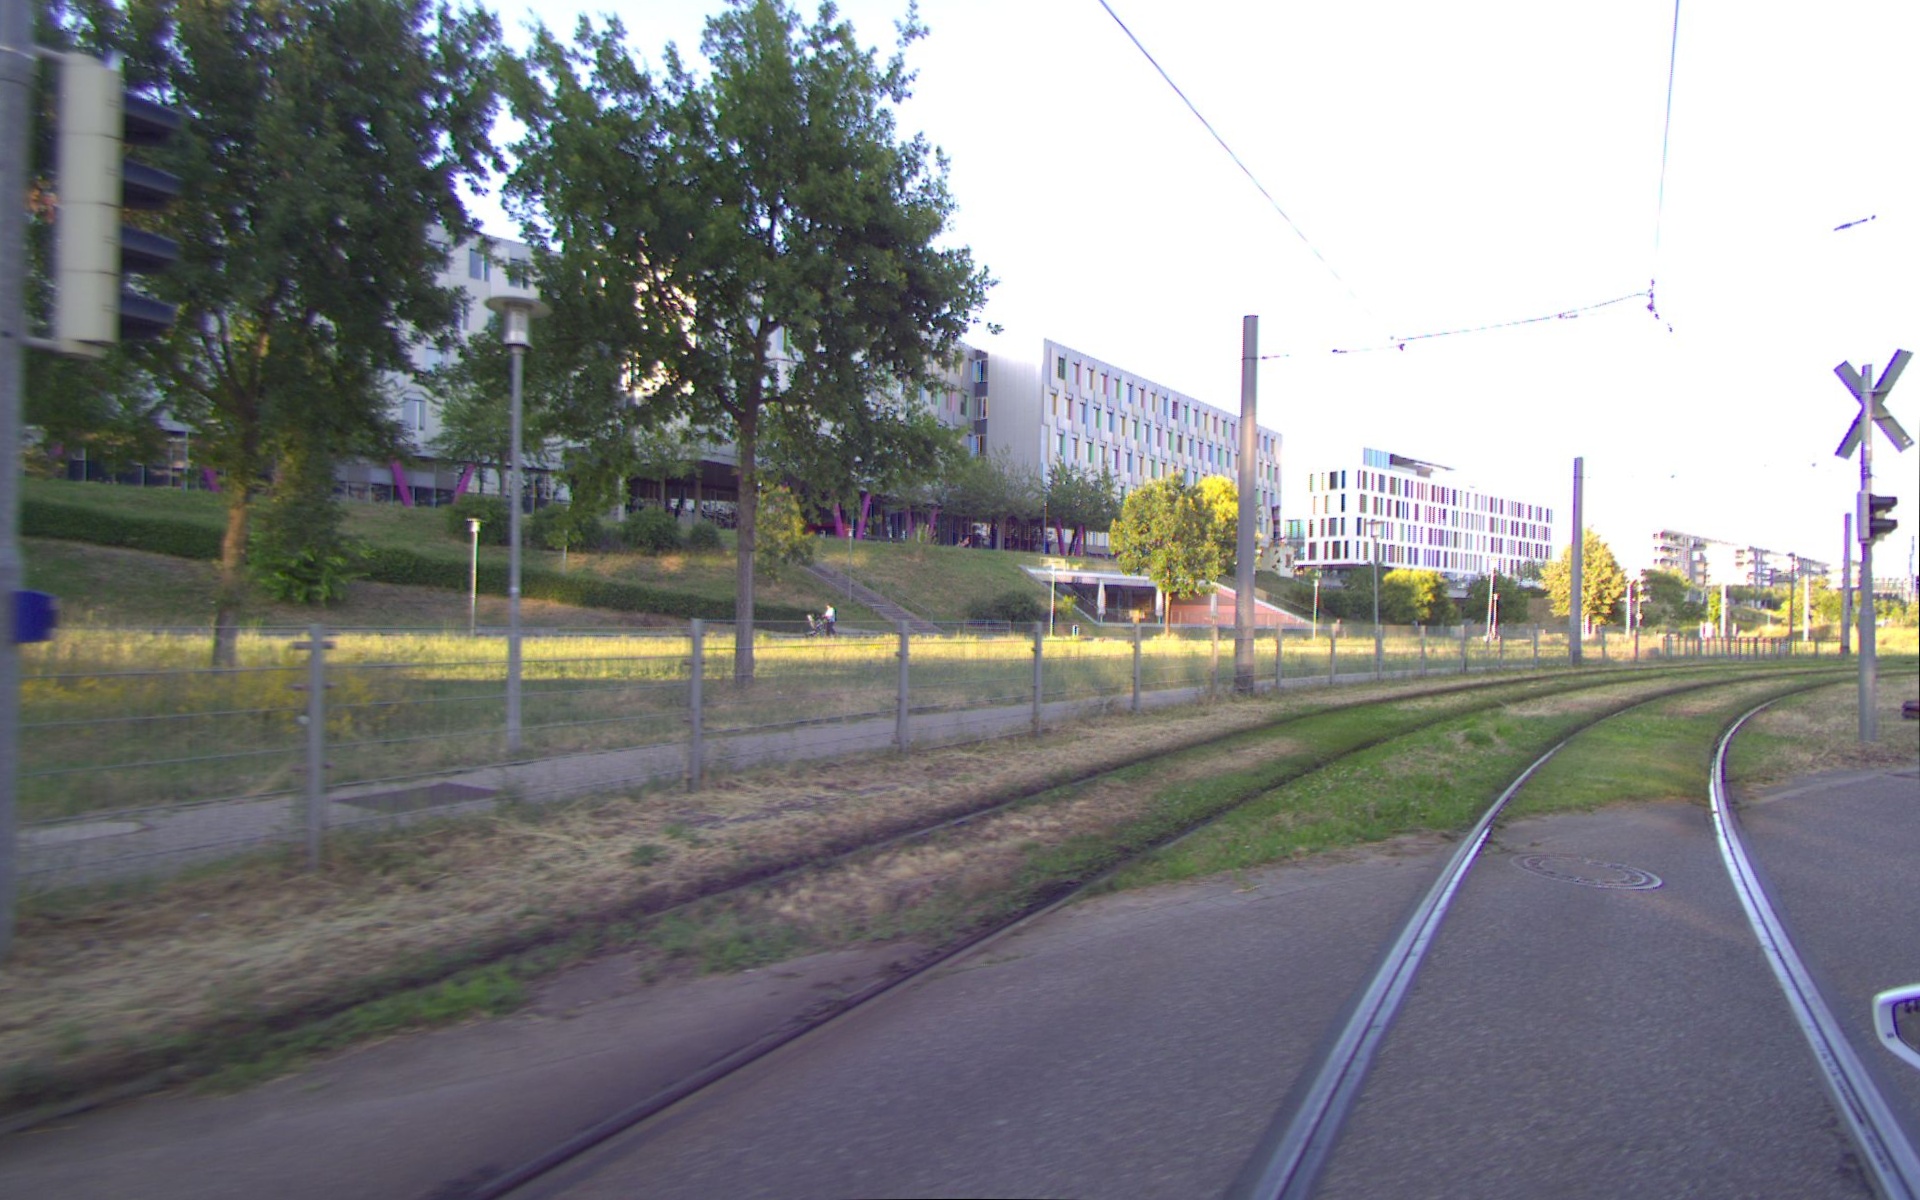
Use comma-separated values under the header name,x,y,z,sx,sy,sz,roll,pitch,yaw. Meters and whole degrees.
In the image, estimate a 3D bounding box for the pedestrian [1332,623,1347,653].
name,x,y,z,sx,sy,sz,roll,pitch,yaw
pedestrian,27.032,2.692,71.570,0.782,2.110,0.612,1,1,-34

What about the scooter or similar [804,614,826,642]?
name,x,y,z,sx,sy,sz,roll,pitch,yaw
scooter or similar,-6.794,1.326,47.081,0.782,1.260,0.612,1,1,-34

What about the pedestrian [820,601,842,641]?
name,x,y,z,sx,sy,sz,roll,pitch,yaw
pedestrian,-6.108,1.001,47.539,0.782,1.861,0.612,1,1,-34
